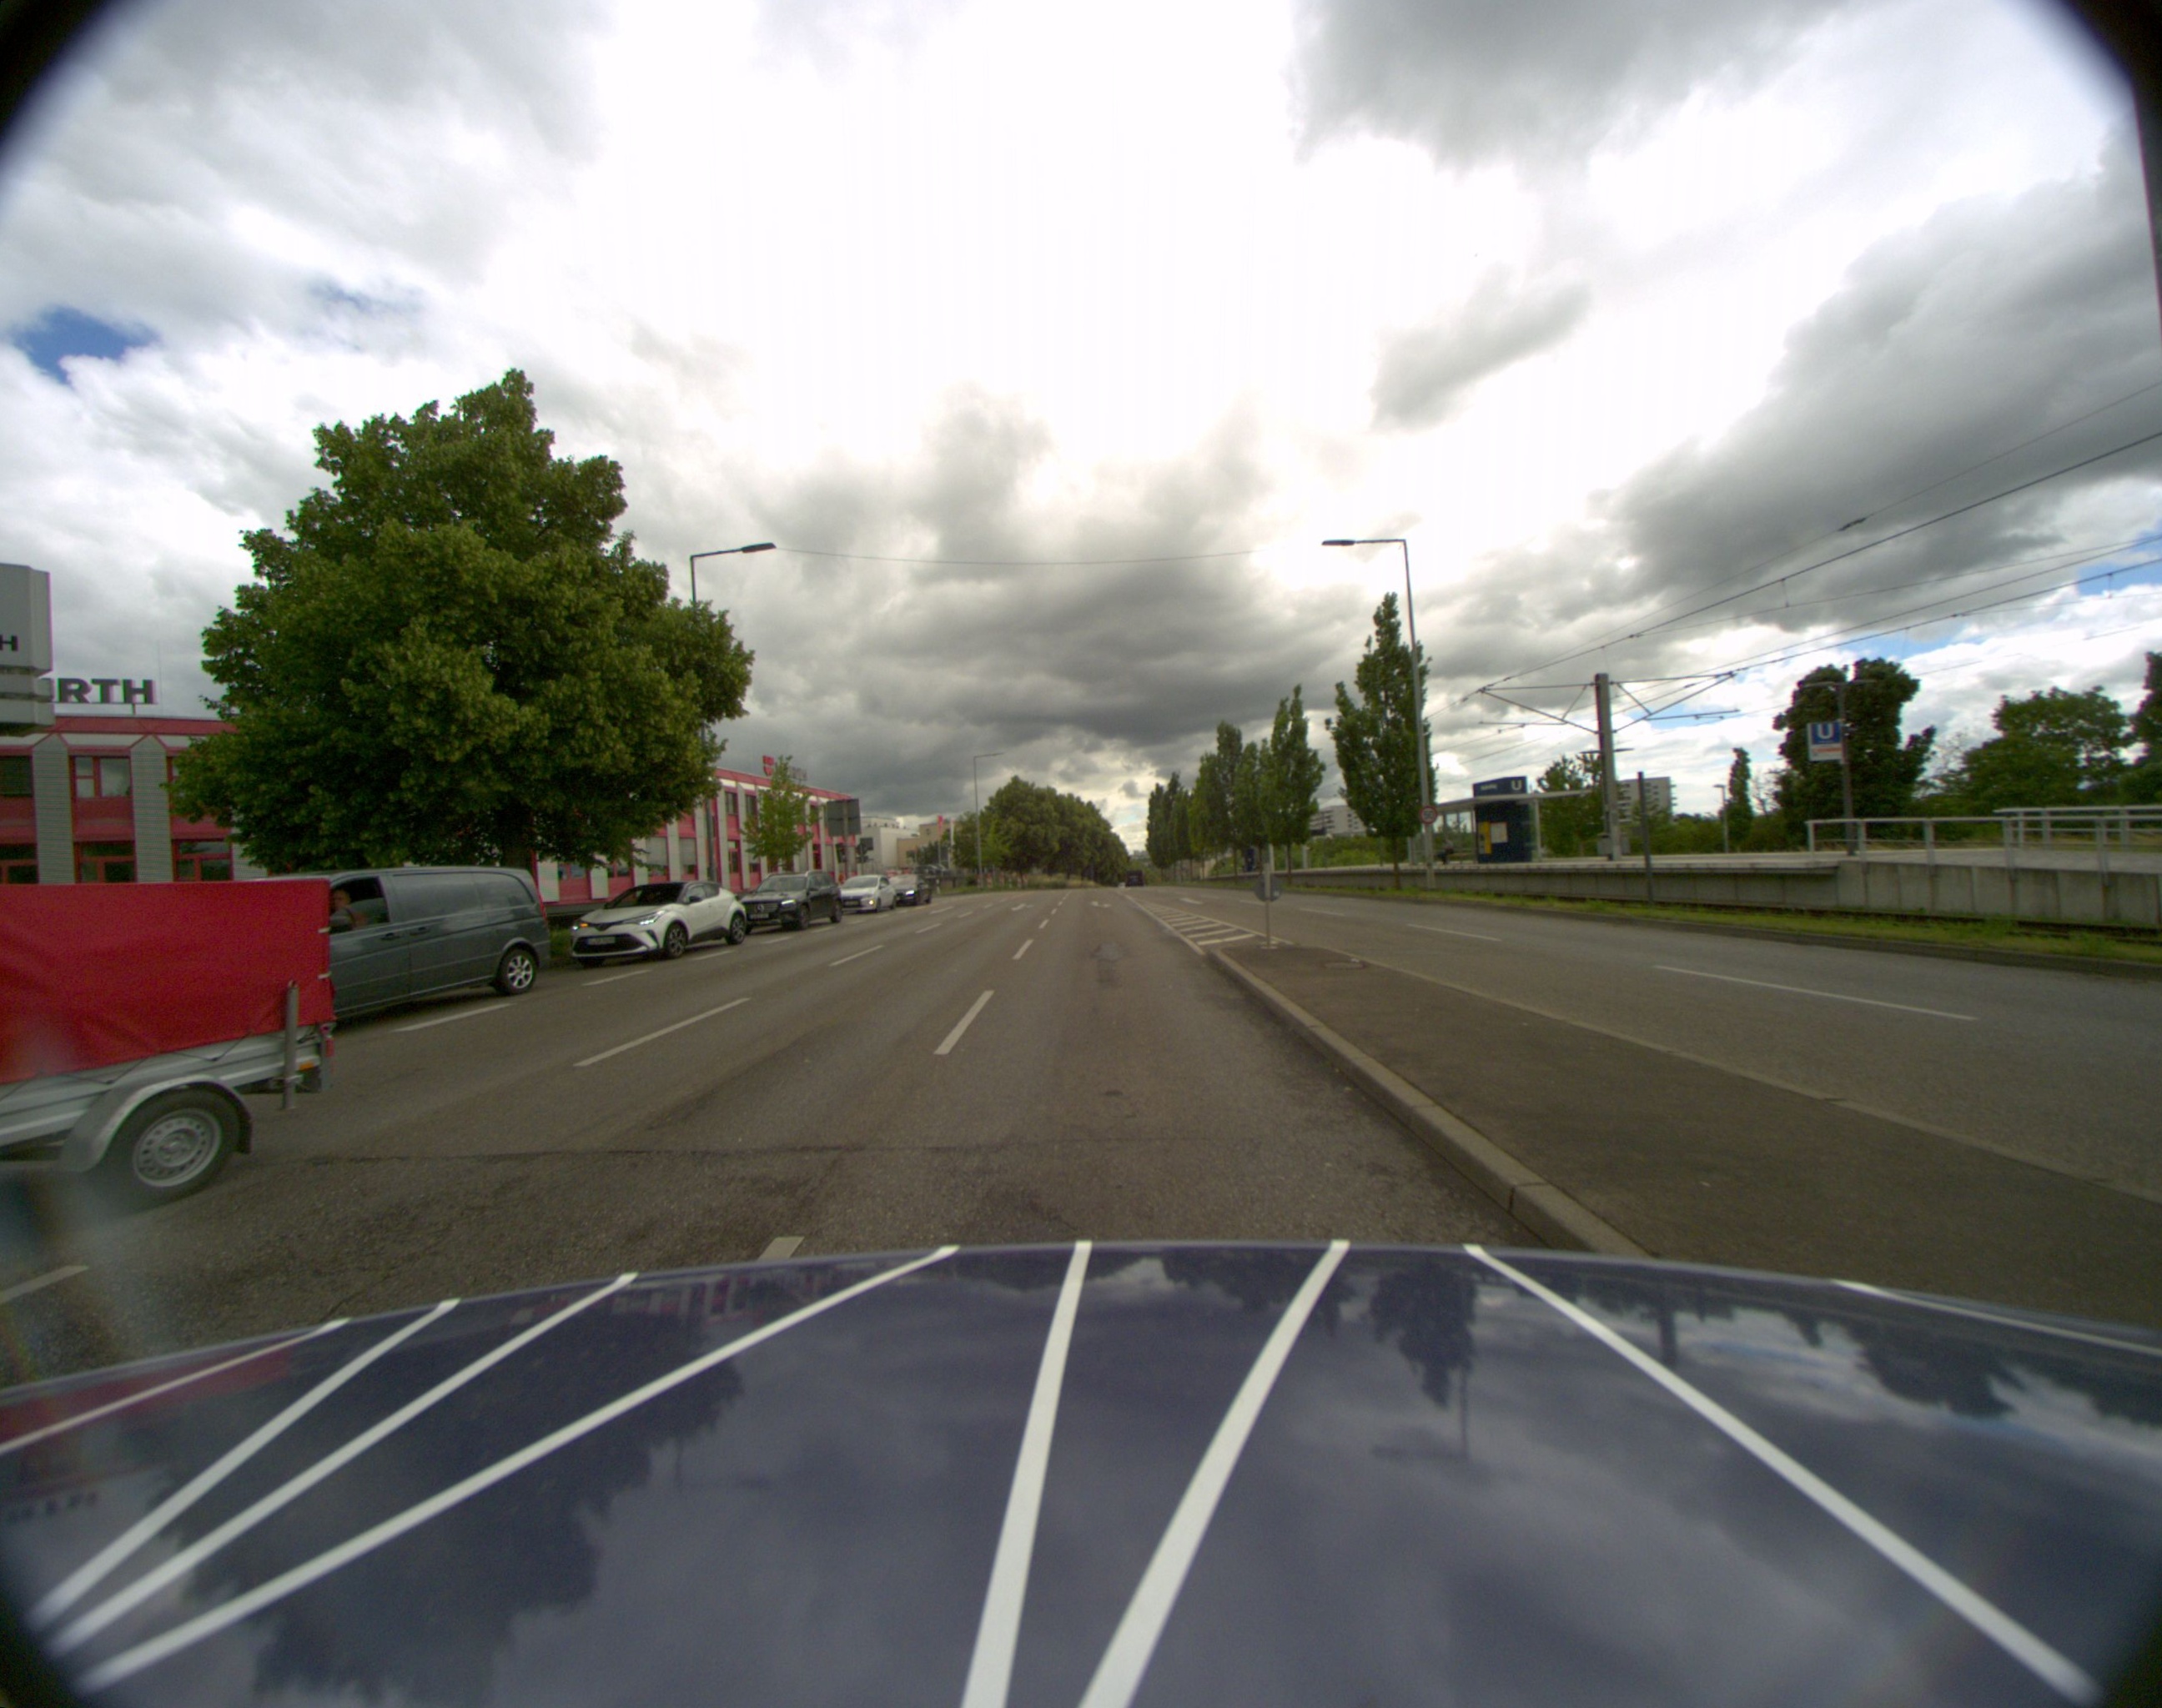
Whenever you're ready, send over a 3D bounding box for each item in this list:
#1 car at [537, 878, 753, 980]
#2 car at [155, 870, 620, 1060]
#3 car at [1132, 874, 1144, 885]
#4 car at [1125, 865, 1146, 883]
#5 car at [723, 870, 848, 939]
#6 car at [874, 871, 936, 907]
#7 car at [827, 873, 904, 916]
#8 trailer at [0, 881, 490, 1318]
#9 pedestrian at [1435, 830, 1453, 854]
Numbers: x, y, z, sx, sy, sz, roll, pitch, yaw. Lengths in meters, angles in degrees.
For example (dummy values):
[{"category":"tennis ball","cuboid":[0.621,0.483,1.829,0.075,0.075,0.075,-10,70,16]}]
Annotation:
[{"category":"car","cuboid":[-8.600,1.388,15.482,1.844,1.507,4.106,-6,0,1]},{"category":"car","cuboid":[-8.693,1.220,10.300,1.763,1.764,4.675,-5,0,2]},{"category":"car","cuboid":[9.292,4.168,124.055,1.739,1.499,3.661,-2,0,5]},{"category":"car","cuboid":[5.857,2.113,82.580,1.892,1.802,5.093,-2,-1,1]},{"category":"car","cuboid":[-8.439,1.377,22.155,1.865,1.648,4.209,-4,-1,1]},{"category":"car","cuboid":[-8.056,1.568,35.204,1.763,1.431,4.370,-3,0,0]},{"category":"car","cuboid":[-8.499,1.561,30.354,1.763,1.431,4.370,-3,0,0]},{"category":"trailer","cuboid":[-5.277,1.082,3.538,1.775,1.650,3.996,-2,1,1]},{"category":"pedestrian","cuboid":[17.543,-0.593,36.743,0.601,1.148,0.447,-2,1,1]}]
